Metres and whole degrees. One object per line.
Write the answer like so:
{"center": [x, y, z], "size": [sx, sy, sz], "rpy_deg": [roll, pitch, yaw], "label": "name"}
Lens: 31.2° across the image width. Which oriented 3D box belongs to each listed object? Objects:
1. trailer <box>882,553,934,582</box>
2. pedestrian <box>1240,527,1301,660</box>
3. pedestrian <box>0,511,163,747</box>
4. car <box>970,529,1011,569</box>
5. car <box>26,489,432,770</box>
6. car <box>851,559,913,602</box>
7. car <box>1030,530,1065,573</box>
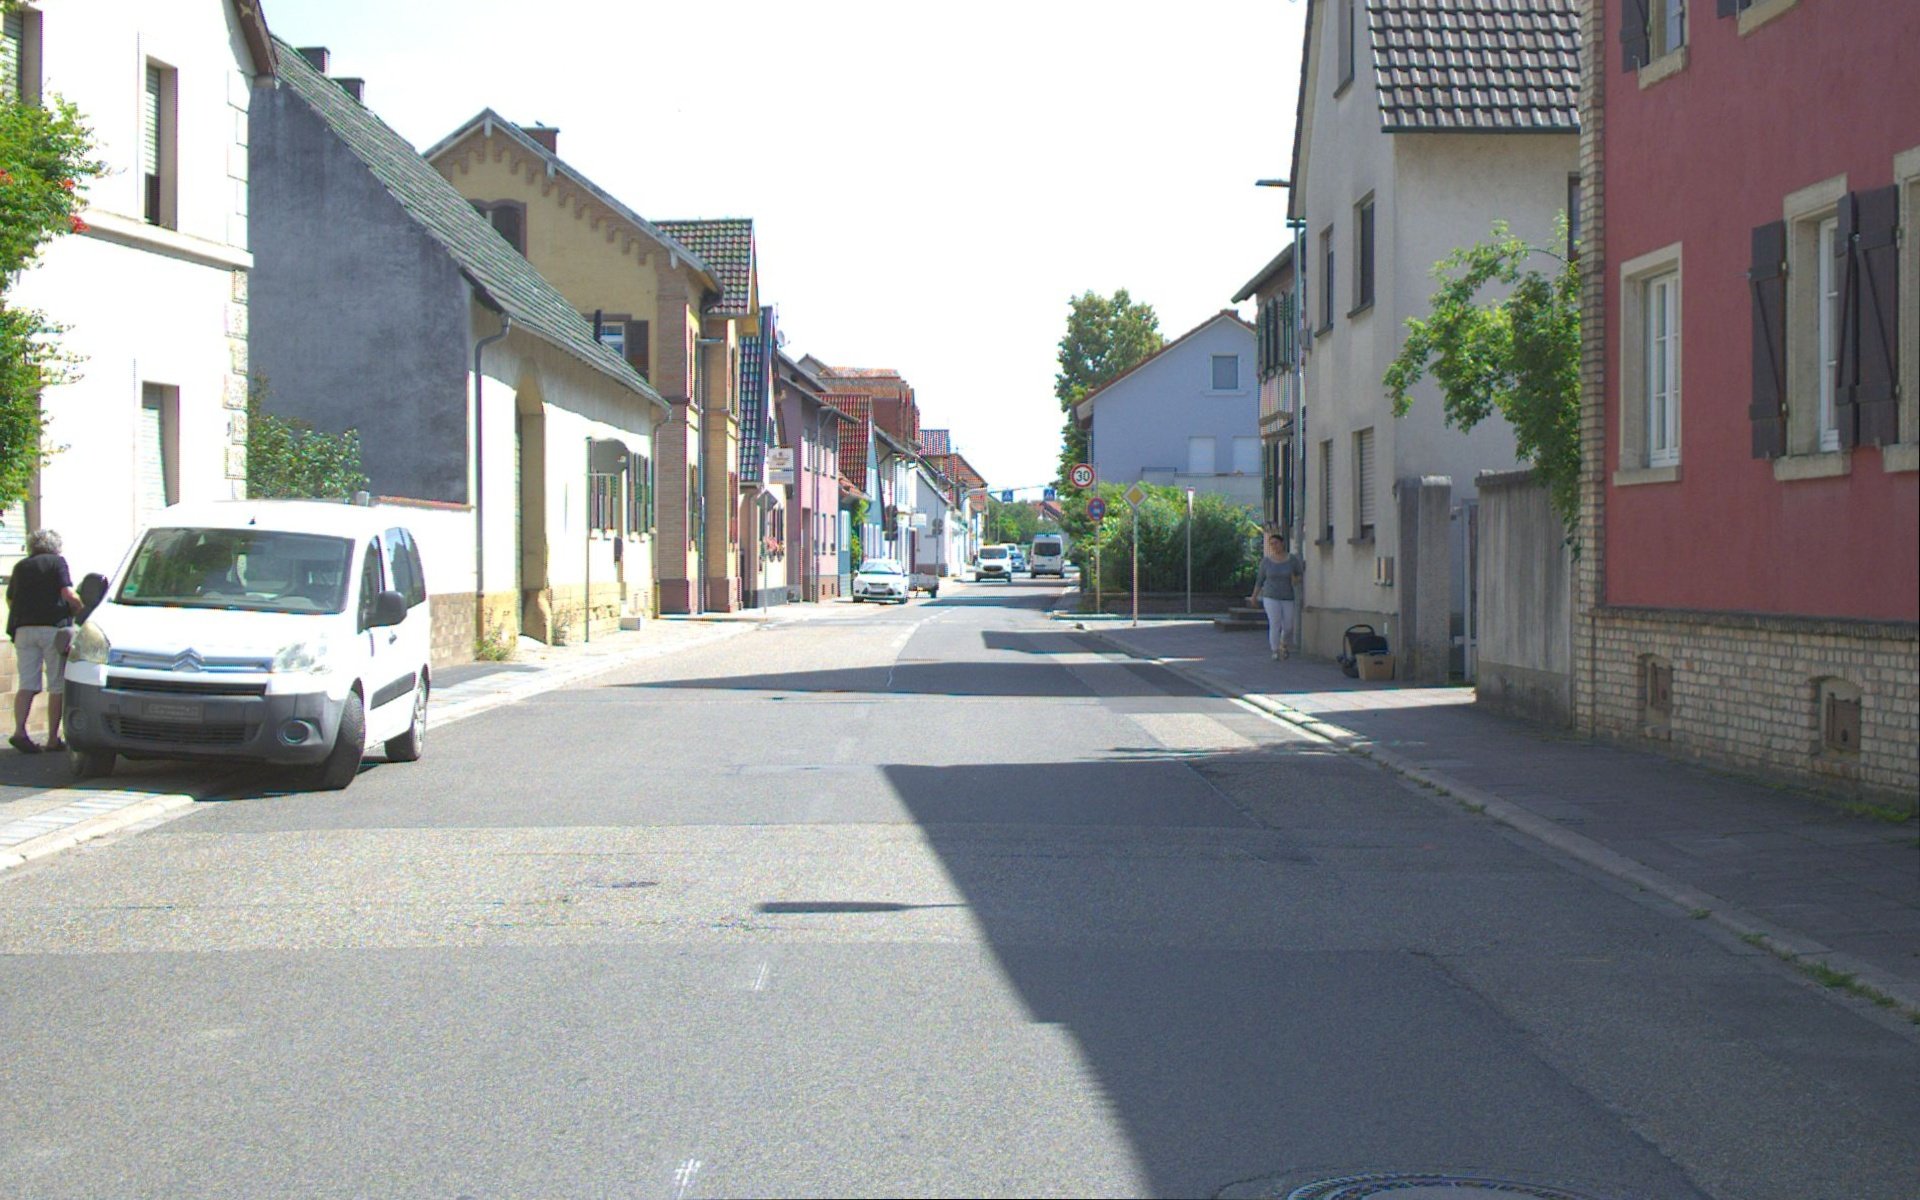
{"center": [-2.035, -1.261, 133.929], "size": [1.993, 1.086, 4.000], "rpy_deg": [0, 1, -1], "label": "trailer"}
{"center": [3.944, -0.090, 43.691], "size": [0.719, 1.658, 0.892], "rpy_deg": [1, 1, 4], "label": "pedestrian"}
{"center": [-6.154, 0.178, 23.273], "size": [1.014, 1.546, 1.139], "rpy_deg": [1, 1, 19], "label": "pedestrian"}
{"center": [1.665, -2.796, 189.998], "size": [2.158, 2.073, 4.000], "rpy_deg": [0, -1, -1], "label": "car"}
{"center": [-4.649, 0.136, 22.481], "size": [1.855, 1.641, 4.430], "rpy_deg": [1, 1, -2], "label": "car"}
{"center": [-2.642, -0.683, 116.844], "size": [1.993, 1.437, 4.000], "rpy_deg": [0, 1, 0], "label": "car"}
{"center": [5.243, -2.928, 206.668], "size": [2.017, 2.559, 4.000], "rpy_deg": [0, 1, 0], "label": "car"}
